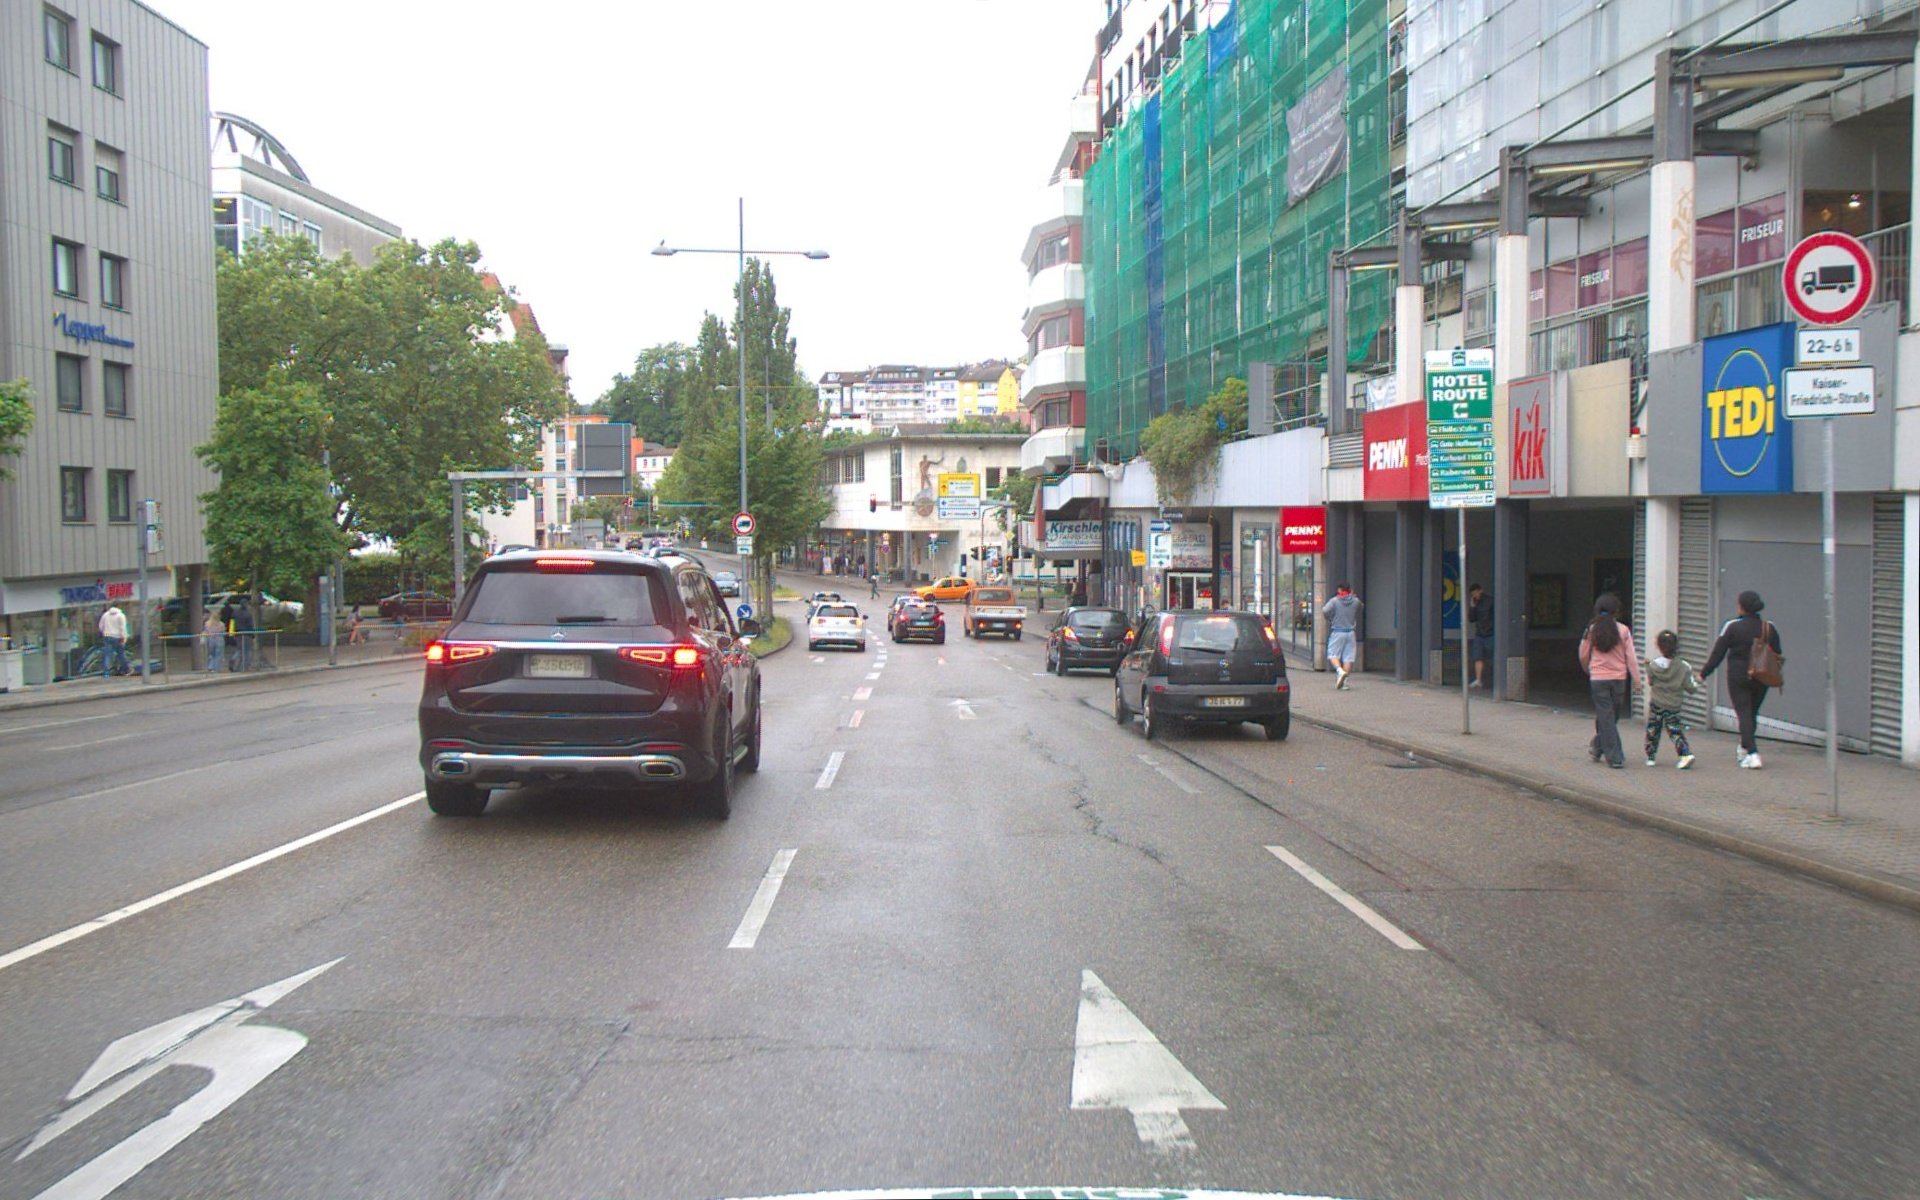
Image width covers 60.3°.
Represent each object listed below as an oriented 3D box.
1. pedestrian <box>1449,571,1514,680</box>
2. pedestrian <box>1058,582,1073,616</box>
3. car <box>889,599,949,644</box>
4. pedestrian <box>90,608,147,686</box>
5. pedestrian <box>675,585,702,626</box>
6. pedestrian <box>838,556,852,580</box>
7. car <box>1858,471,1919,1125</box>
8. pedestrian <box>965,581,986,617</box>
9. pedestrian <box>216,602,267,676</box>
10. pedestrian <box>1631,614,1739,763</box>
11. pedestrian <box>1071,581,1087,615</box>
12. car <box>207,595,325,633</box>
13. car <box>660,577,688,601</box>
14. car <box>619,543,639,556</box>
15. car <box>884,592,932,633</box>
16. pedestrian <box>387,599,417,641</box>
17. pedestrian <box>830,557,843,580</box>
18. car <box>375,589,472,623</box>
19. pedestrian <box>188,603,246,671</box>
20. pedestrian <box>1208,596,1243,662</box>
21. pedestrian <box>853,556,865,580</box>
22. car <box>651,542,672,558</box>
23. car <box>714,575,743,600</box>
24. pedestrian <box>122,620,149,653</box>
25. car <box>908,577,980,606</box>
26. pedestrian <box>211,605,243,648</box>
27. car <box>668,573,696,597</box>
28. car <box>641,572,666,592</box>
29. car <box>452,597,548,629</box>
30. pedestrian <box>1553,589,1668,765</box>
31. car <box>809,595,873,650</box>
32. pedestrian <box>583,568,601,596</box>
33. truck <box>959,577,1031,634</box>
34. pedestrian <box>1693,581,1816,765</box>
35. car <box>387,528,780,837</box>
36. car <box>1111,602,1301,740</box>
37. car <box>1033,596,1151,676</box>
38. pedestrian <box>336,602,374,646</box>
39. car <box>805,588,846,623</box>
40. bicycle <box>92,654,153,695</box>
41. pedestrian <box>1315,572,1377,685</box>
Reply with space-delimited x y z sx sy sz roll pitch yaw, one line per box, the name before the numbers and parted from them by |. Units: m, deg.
pedestrian | 8.549 0.405 27.122 0.657 1.745 0.815 -2 0 -14
pedestrian | 5.426 -0.046 84.944 0.566 1.729 0.648 -2 0 -13
car | -1.520 0.743 59.802 1.777 1.466 3.994 1 1 -7
pedestrian | -19.735 1.082 38.827 0.977 1.752 1.033 -2 0 -18
pedestrian | -12.782 0.244 78.003 1.041 1.915 0.839 -2 0 3
pedestrian | -9.155 -2.555 131.782 0.833 1.834 1.051 -2 0 -18
car | 3.607 0.576 2.745 1.868 1.816 4.302 -1 1 -1
pedestrian | 0.789 -0.069 83.009 0.989 1.752 0.838 -2 0 1
pedestrian | -17.638 0.935 40.642 0.801 1.743 1.310 -2 0 -10
pedestrian | 6.197 0.747 14.163 0.676 1.228 0.554 -2 0 5
pedestrian | 6.111 -0.113 84.963 0.566 1.729 0.647 -2 0 -18
car | -33.322 0.672 79.579 4.988 1.790 1.992 1 0 -16
car | -17.935 -0.712 103.749 1.676 1.476 3.851 -1 0 -11
car | -41.220 -6.301 205.944 1.727 1.581 3.539 -1 0 -26
car | -2.201 0.494 68.874 1.727 1.569 3.995 0 1 -6
pedestrian | -24.132 0.866 71.501 0.929 1.752 0.760 -2 0 20
pedestrian | -9.929 -2.554 132.890 0.786 1.834 0.913 -2 0 -18
car | -27.133 0.318 83.781 4.610 1.672 1.778 1 0 -18
pedestrian | -19.813 0.966 44.106 0.953 1.752 1.090 -2 0 4
pedestrian | 6.870 0.743 42.771 0.631 1.678 0.560 -3 -1 39
pedestrian | -8.102 -2.562 132.323 0.691 1.834 0.934 -2 0 -18
car | -32.924 -5.502 182.307 1.961 1.624 3.983 -1 0 -16
car | -14.684 -0.795 104.937 1.786 1.576 3.993 0 0 -8
pedestrian | -34.319 1.509 68.858 0.939 1.294 0.752 -2 0 -30
car | -0.941 -0.482 96.203 3.924 1.645 1.770 0 0 -11
pedestrian | -30.180 1.085 68.093 0.741 1.752 0.953 -2 0 9
car | -18.737 -1.010 111.356 1.746 1.576 3.988 -1 0 -12
car | -24.362 -1.437 131.543 1.747 1.576 3.986 -1 0 -14
car | -22.811 0.640 82.131 4.516 1.508 1.934 1 0 -16
pedestrian | 5.680 0.661 14.466 0.730 1.462 0.597 -3 0 5
car | -3.663 0.666 51.518 1.911 1.601 3.997 0 0 -3
pedestrian | -24.034 -1.185 107.976 0.899 1.834 0.617 -2 0 -44
truck | 1.325 0.182 65.414 2.142 2.119 5.595 0 0 -6
pedestrian | 6.682 0.602 13.947 0.755 1.492 0.705 -2 0 12
car | -2.563 0.491 12.547 2.046 1.848 4.790 1 0 -3
car | 2.805 0.764 19.590 1.682 1.445 3.770 -1 0 0
car | 2.791 0.723 35.858 1.912 1.601 3.996 0 0 -5
pedestrian | -25.249 0.988 69.028 0.931 1.752 1.013 -2 3 30
car | -6.114 0.234 75.043 1.760 1.494 3.995 0 1 -6
bicycle | -24.985 2.198 49.382 0.599 1.106 2.669 0 0 -3
pedestrian | 6.138 0.441 26.353 0.818 1.752 0.830 -2 0 5
